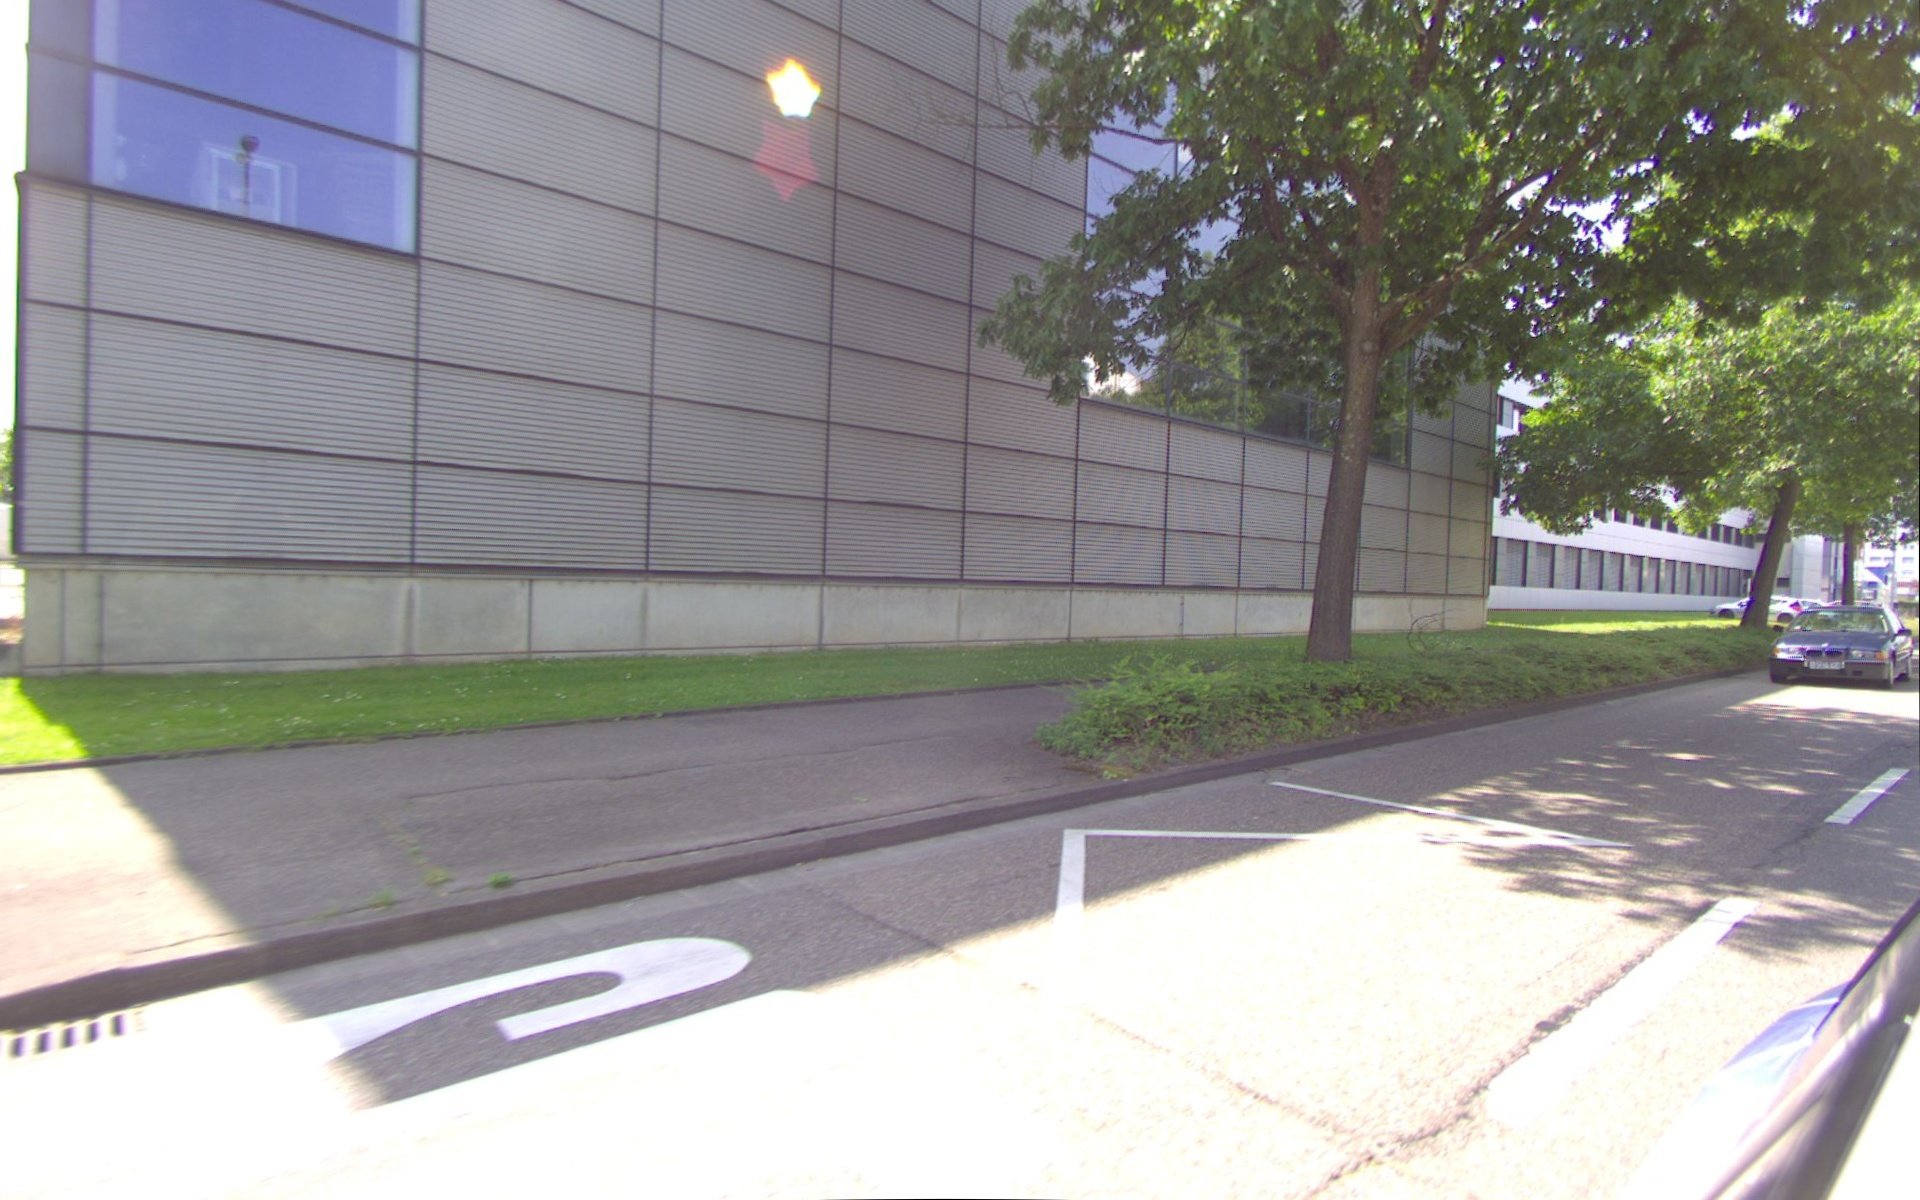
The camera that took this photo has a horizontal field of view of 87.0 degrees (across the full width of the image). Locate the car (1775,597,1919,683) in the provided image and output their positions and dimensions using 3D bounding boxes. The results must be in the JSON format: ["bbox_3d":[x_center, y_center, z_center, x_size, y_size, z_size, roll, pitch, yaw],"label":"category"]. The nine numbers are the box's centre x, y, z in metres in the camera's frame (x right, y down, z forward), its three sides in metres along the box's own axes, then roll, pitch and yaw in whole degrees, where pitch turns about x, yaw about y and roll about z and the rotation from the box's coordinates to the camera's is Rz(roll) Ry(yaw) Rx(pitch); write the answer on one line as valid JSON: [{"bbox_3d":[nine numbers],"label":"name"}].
[{"bbox_3d":[16.086,0.664,18.146,3.690,1.356,1.631,1,0,-40],"label":"car"}]

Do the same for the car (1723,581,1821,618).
[{"bbox_3d":[43.378,-0.058,54.126,1.704,1.611,3.817,0,5,-45],"label":"car"}]

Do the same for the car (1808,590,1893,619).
[{"bbox_3d":[61.665,0.278,70.122,1.967,1.710,4.263,0,3,-45],"label":"car"}]

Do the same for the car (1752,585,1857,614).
[{"bbox_3d":[49.801,-0.059,59.731,4.616,1.407,1.968,4,3,44],"label":"car"}]

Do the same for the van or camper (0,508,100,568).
[{"bbox_3d":[-30.032,-1.967,31.858,4.461,1.816,1.996,-1,3,-43],"label":"van or camper"}]
